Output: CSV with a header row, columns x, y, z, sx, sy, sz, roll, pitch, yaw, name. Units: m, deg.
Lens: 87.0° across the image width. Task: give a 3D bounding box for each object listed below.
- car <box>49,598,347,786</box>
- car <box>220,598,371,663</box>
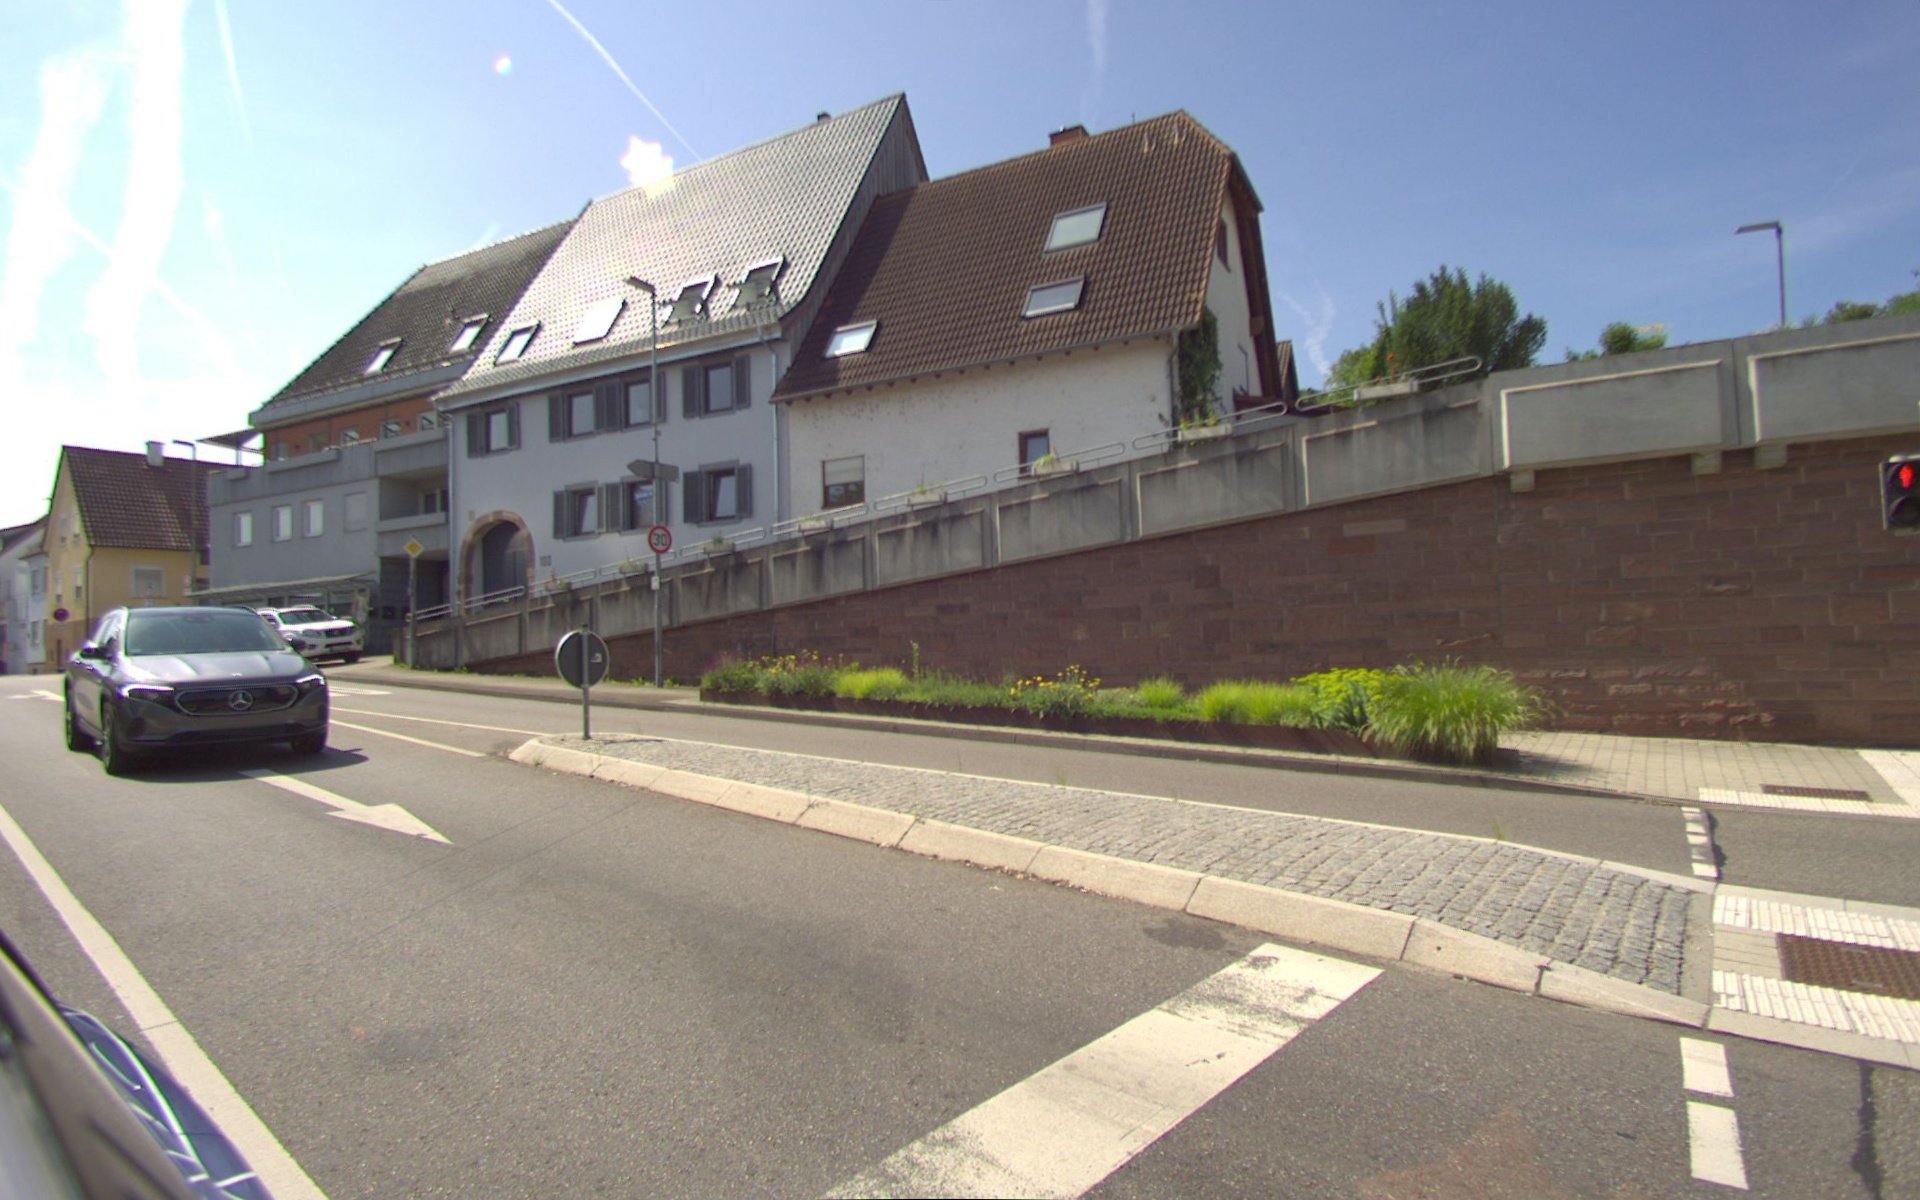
x,y,z,sx,sy,sz,roll,pitch,yaw,name
-8.234,0.831,10.784,4.288,1.585,1.715,-2,0,42,car
-19.904,0.920,30.227,5.269,1.812,1.791,-2,-1,32,car
